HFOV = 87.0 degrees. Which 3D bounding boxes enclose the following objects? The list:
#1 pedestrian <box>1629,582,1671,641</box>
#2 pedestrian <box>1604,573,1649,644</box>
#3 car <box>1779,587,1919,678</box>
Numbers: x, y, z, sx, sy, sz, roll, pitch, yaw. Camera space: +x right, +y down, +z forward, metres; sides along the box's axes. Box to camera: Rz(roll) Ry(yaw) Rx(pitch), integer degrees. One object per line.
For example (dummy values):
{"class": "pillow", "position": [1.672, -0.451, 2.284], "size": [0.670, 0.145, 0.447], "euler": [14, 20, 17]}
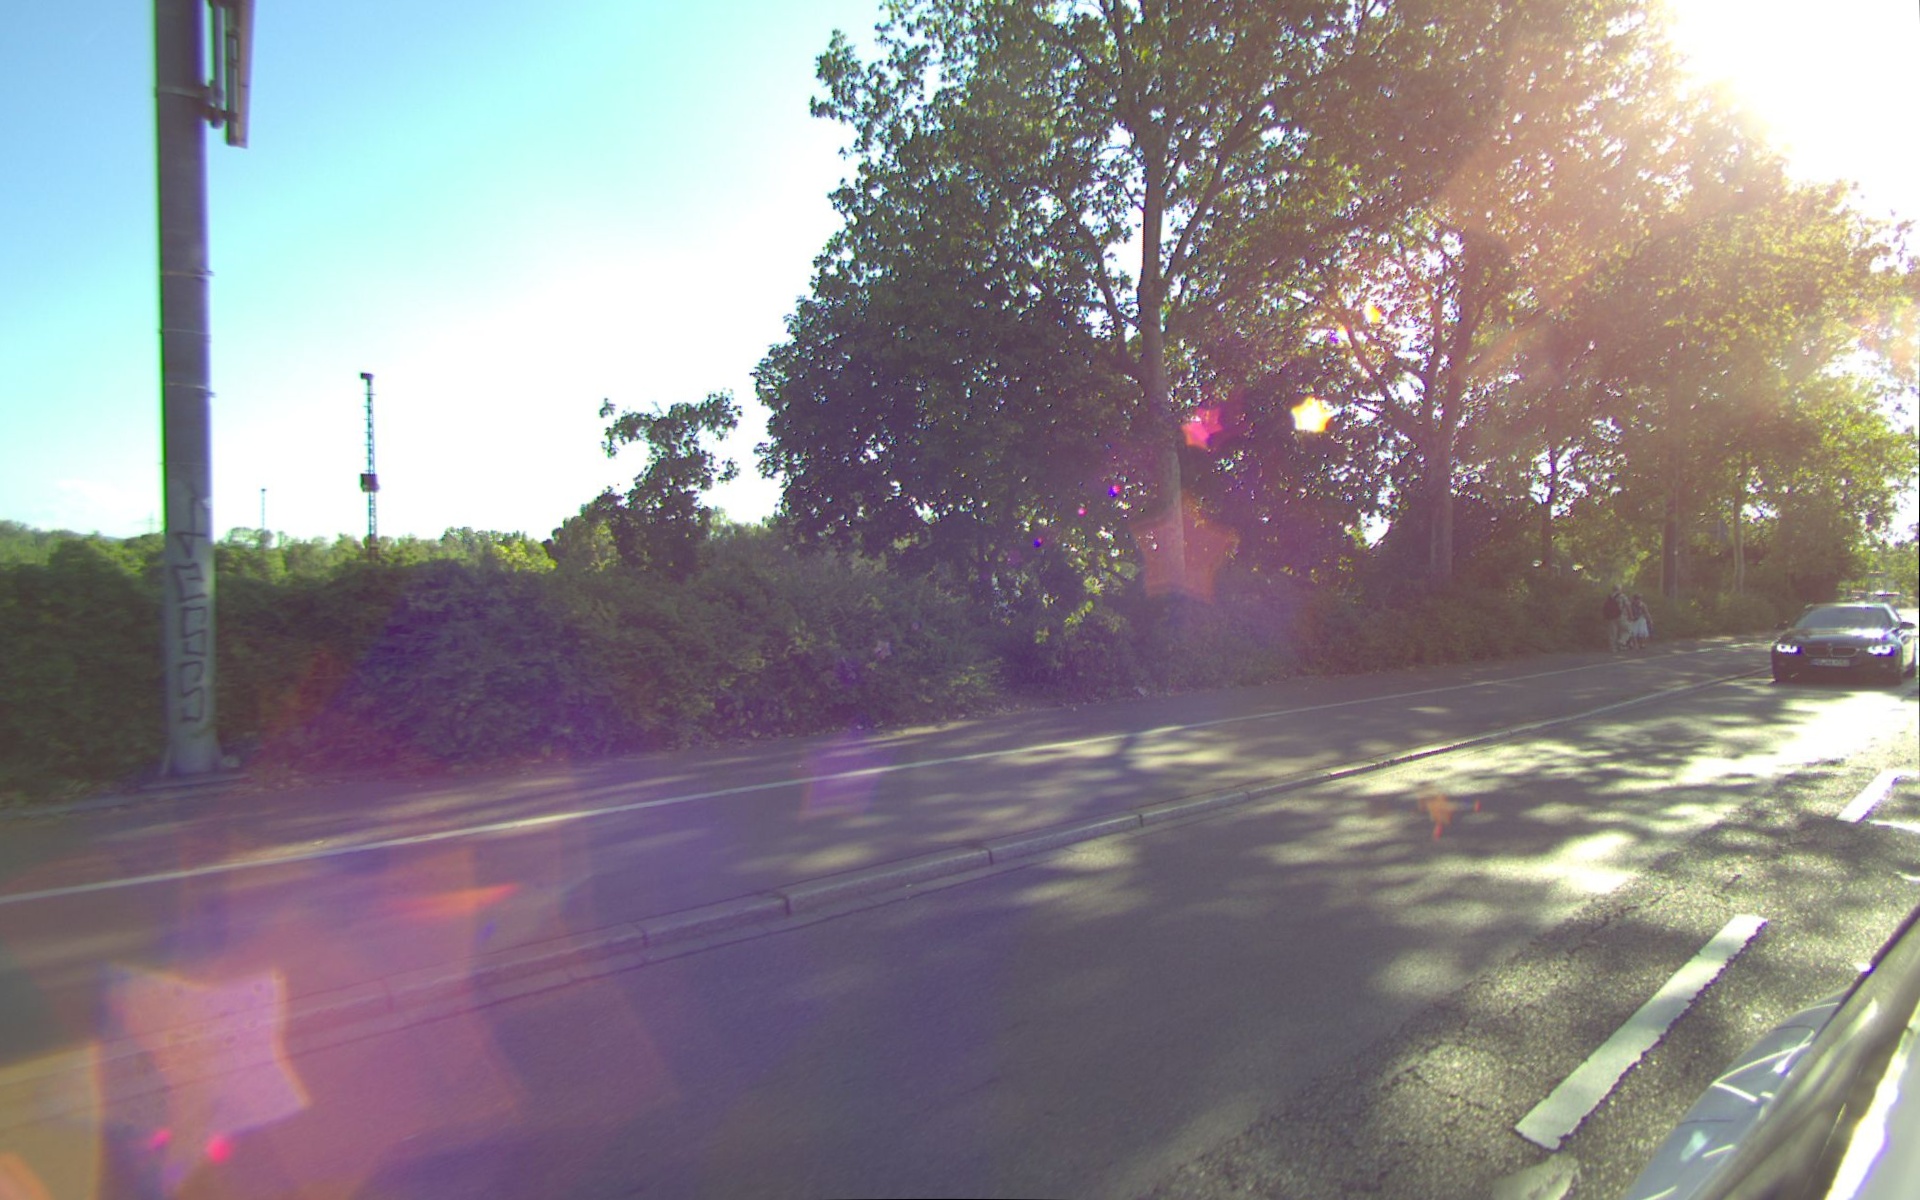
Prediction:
{"class": "pedestrian", "position": [17.984, 0.295, 26.391], "size": [0.709, 1.498, 0.724], "euler": [0, 2, -42]}
{"class": "pedestrian", "position": [16.652, 0.202, 25.277], "size": [0.799, 1.729, 0.723], "euler": [0, 2, -42]}
{"class": "car", "position": [16.949, 0.521, 19.034], "size": [4.510, 1.486, 1.867], "euler": [-1, 1, -44]}
